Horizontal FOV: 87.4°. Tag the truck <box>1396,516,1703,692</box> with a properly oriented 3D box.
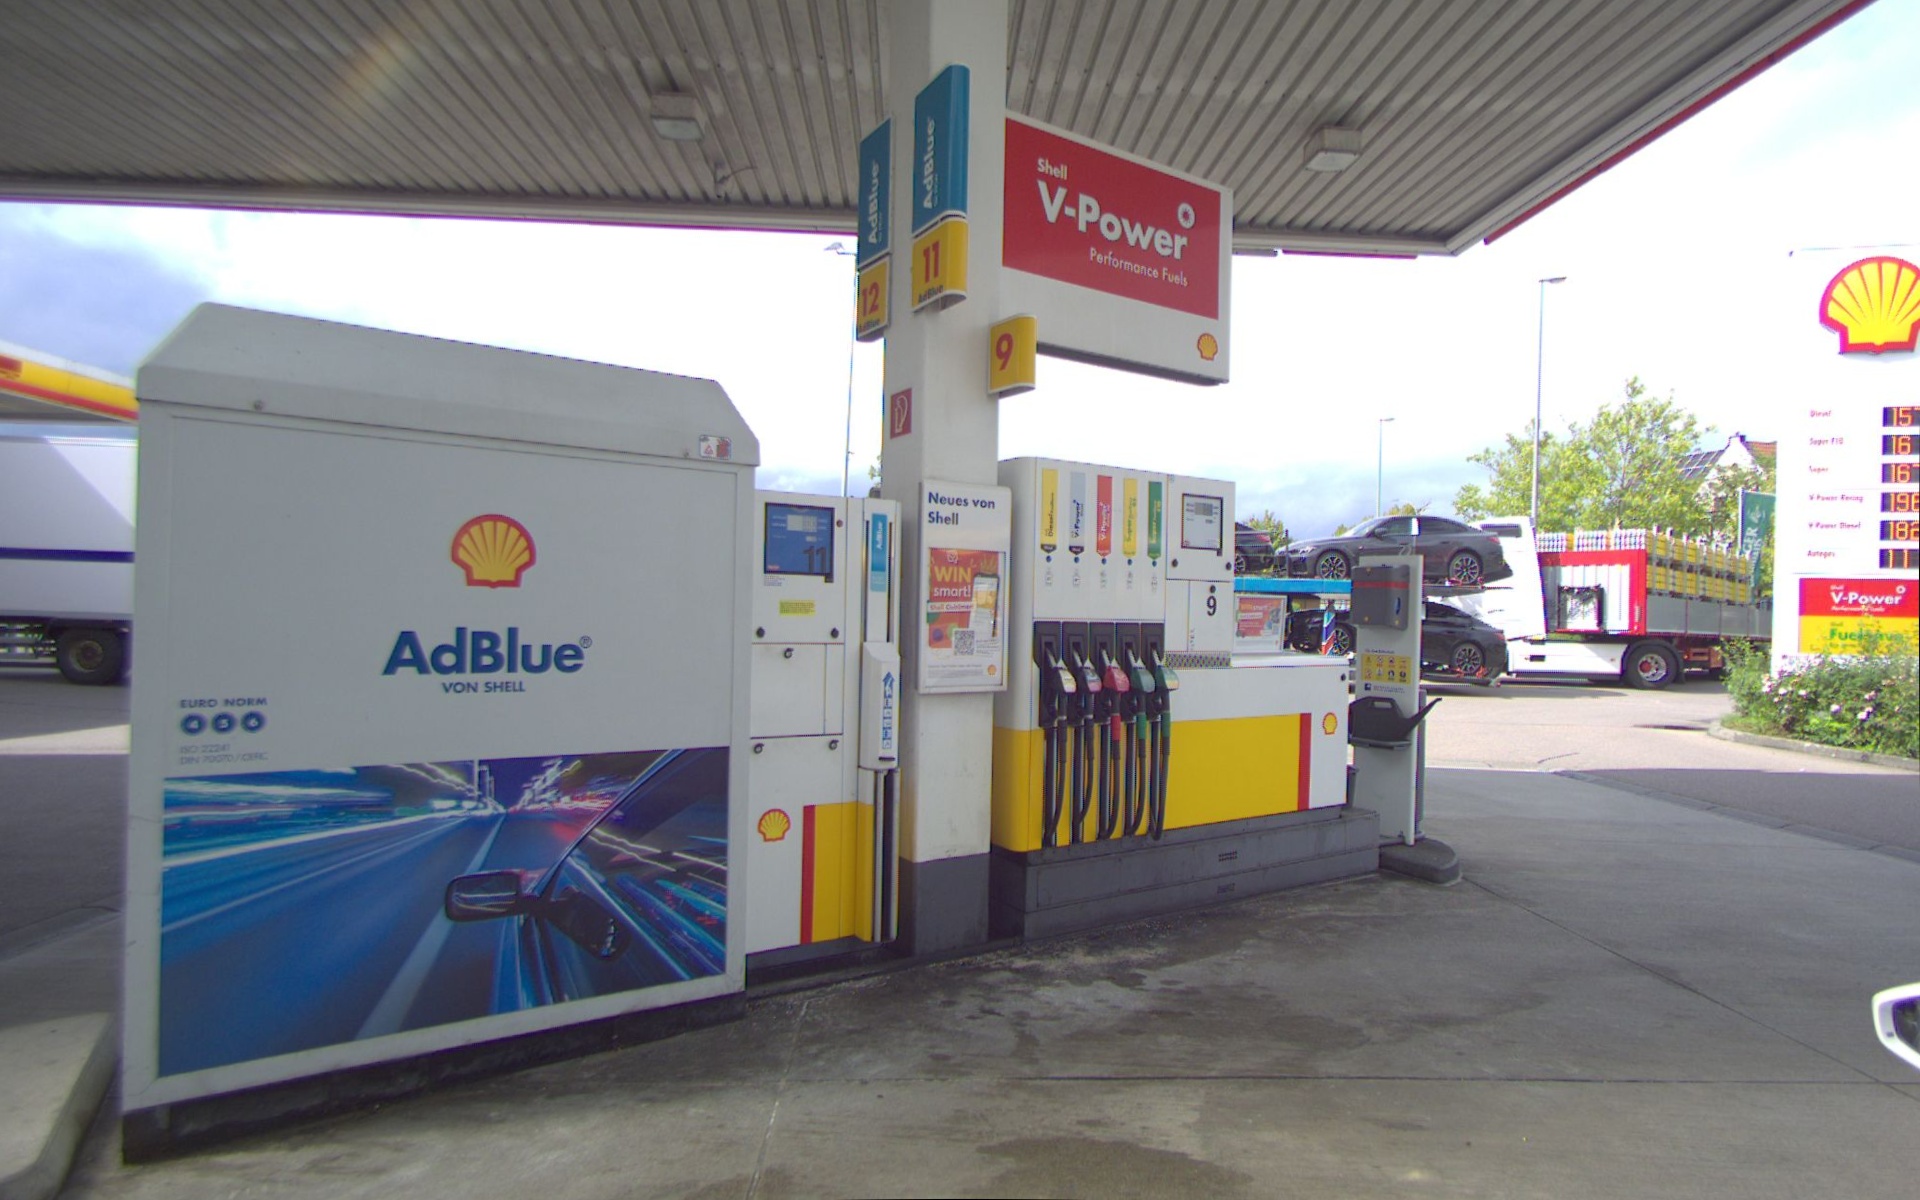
[{"bbox_3d":[14.120,0.062,24.559,5.798,3.897,2.743,2,0,12],"label":"truck"}]

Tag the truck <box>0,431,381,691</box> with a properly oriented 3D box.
[{"bbox_3d":[-17.309,-0.737,17.490,12.654,4.092,2.534,2,0,-3],"label":"truck"}]

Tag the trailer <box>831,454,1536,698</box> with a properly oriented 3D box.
[{"bbox_3d":[4.517,-0.467,21.576,14.077,4.481,2.746,2,0,0],"label":"trailer"}]

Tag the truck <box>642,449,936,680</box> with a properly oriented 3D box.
[{"bbox_3d":[-3.458,-0.703,21.536,5.713,4.479,2.750,2,0,0],"label":"truck"}]

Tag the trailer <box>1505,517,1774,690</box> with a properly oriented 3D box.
[{"bbox_3d":[18.937,0.224,27.392,12.610,3.826,2.707,2,0,-40],"label":"trailer"}]
